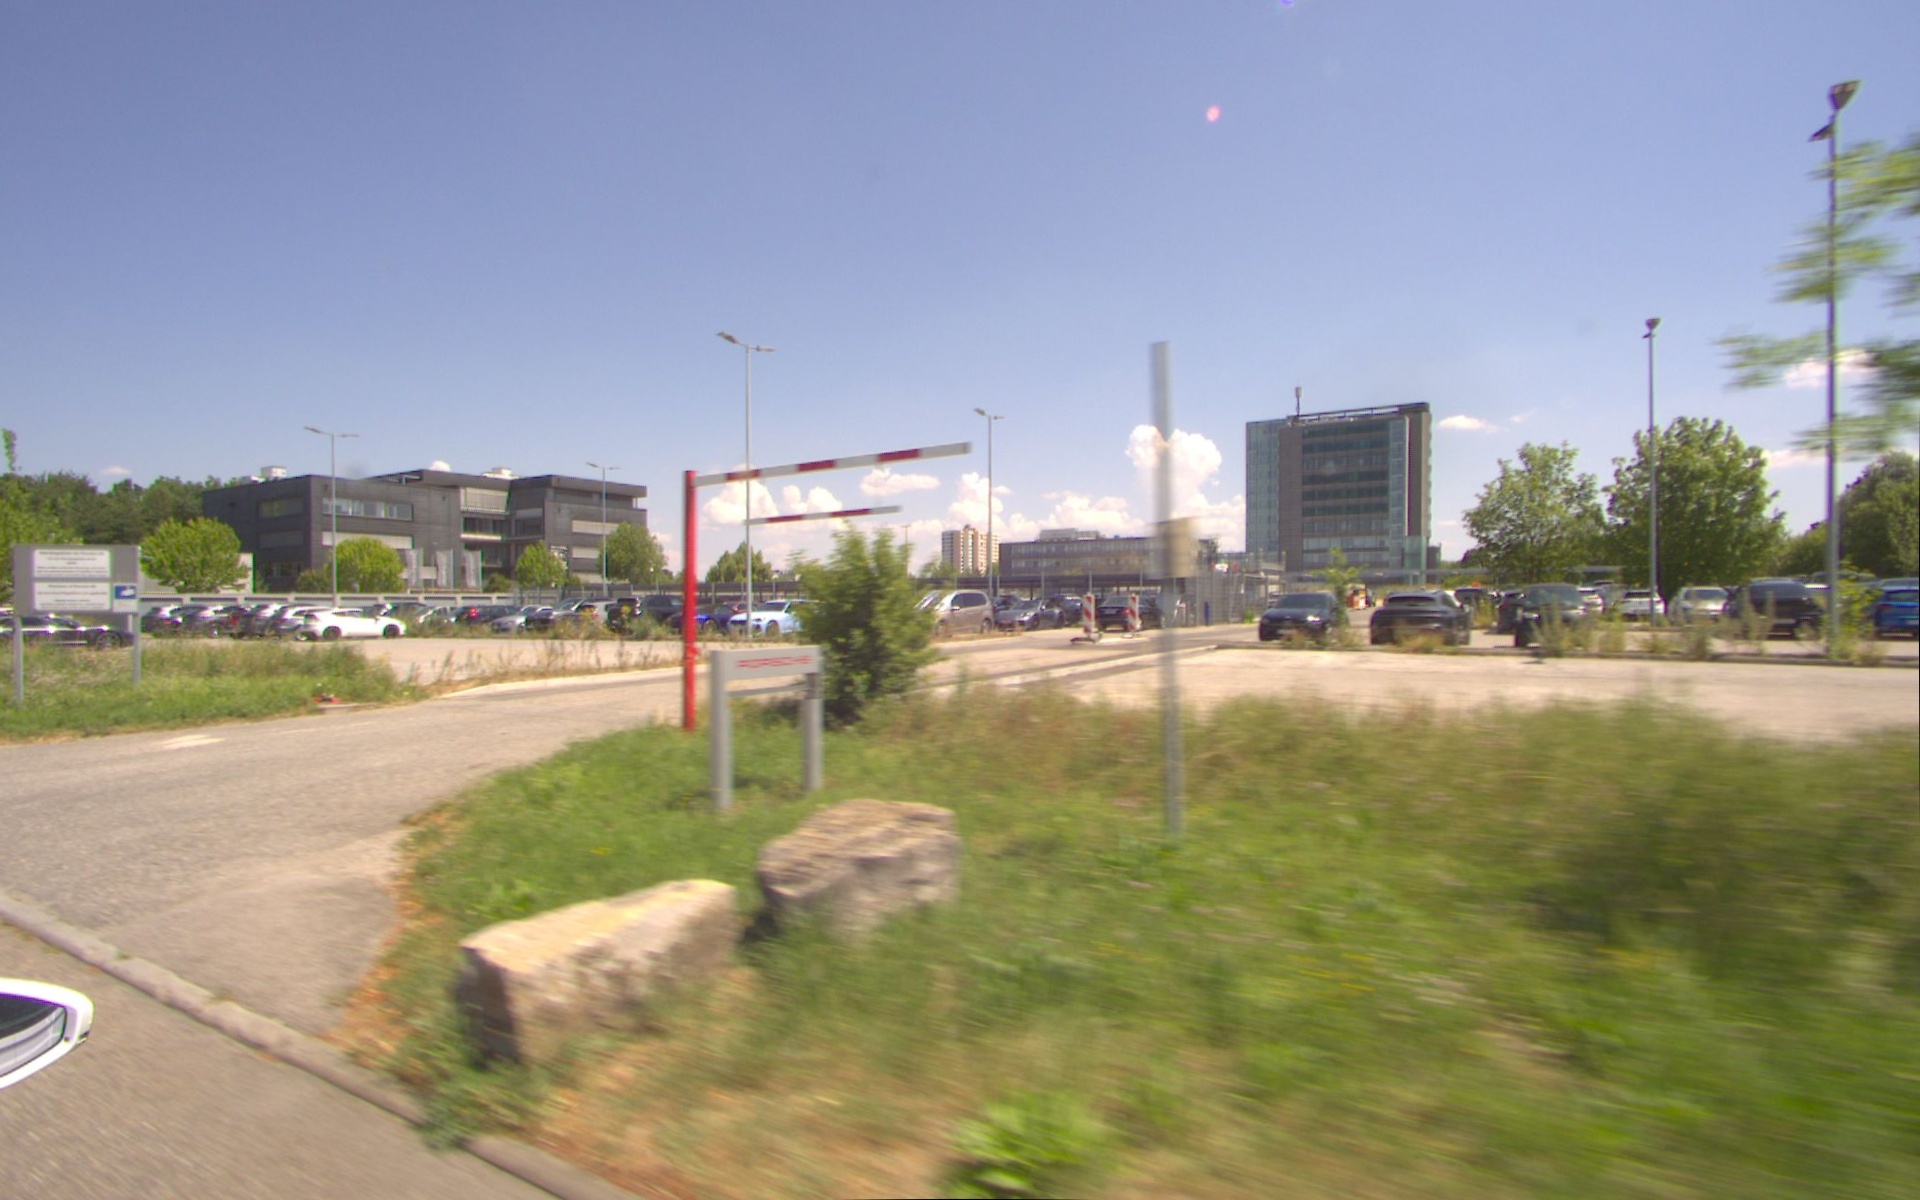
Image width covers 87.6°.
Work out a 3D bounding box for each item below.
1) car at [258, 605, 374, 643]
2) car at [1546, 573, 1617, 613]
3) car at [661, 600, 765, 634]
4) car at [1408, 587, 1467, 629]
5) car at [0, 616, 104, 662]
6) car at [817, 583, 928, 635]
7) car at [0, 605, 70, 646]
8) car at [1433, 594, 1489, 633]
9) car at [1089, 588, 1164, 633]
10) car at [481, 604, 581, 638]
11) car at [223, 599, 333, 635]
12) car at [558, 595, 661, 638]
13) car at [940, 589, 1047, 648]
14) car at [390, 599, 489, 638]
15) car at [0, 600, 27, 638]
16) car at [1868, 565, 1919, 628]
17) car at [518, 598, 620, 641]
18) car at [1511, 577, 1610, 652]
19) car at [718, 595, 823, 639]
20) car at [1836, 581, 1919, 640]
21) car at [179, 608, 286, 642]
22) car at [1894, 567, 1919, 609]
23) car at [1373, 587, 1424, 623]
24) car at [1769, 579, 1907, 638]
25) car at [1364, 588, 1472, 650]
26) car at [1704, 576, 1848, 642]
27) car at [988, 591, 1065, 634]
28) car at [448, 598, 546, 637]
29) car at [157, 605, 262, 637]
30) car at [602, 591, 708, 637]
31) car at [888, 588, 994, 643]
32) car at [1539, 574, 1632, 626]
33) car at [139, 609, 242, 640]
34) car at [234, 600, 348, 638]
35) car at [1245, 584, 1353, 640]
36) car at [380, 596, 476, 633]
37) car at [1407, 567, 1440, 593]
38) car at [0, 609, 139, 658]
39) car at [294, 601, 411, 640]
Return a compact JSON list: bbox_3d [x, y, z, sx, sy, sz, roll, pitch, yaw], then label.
[{"bbox_3d":[-28.546,1.043,44.492,1.741,1.420,3.980,3,3,29],"label":"car"},{"bbox_3d":[28.559,-0.363,46.146,1.965,1.663,3.989,2,3,21],"label":"car"},{"bbox_3d":[-9.721,0.635,39.619,1.741,1.124,3.980,3,3,29],"label":"car"},{"bbox_3d":[16.728,0.251,34.990,1.670,1.359,3.982,-1,0,28],"label":"car"},{"bbox_3d":[-34.182,1.429,36.498,1.741,1.420,4.156,3,3,29],"label":"car"},{"bbox_3d":[-2.994,0.271,35.215,1.741,1.618,4.359,3,3,29],"label":"car"},{"bbox_3d":[-36.573,0.976,37.775,1.741,1.420,4.156,3,3,29],"label":"car"},{"bbox_3d":[24.299,0.625,48.667,1.965,1.663,3.989,2,3,21],"label":"car"},{"bbox_3d":[6.843,0.384,40.870,1.741,1.618,3.980,3,3,29],"label":"car"},{"bbox_3d":[-19.560,0.934,45.819,1.741,1.289,3.980,3,3,29],"label":"car"},{"bbox_3d":[-32.570,0.783,47.917,1.741,1.482,3.980,3,3,29],"label":"car"},{"bbox_3d":[-14.812,0.652,42.497,1.741,1.618,3.980,3,3,29],"label":"car"},{"bbox_3d":[1.128,0.525,31.871,1.741,1.618,3.980,3,3,29],"label":"car"},{"bbox_3d":[-25.050,0.855,48.307,1.741,1.618,3.980,3,3,29],"label":"car"},{"bbox_3d":[-40.284,0.815,39.941,1.741,1.420,4.156,3,3,29],"label":"car"},{"bbox_3d":[30.942,-0.119,31.901,1.969,1.908,3.981,3,3,28],"label":"car"},{"bbox_3d":[-17.086,0.807,43.889,1.741,1.618,3.980,3,3,29],"label":"car"},{"bbox_3d":[14.602,0.311,24.280,1.900,1.663,3.977,-1,0,33],"label":"car"},{"bbox_3d":[-7.050,0.610,37.641,1.741,1.412,3.980,3,3,29],"label":"car"},{"bbox_3d":[26.081,0.256,27.853,1.707,1.484,3.791,3,3,28],"label":"car"},{"bbox_3d":[-36.381,1.230,50.147,1.741,1.420,3.980,3,3,29],"label":"car"},{"bbox_3d":[39.497,-0.435,39.824,1.965,1.663,3.989,2,3,21],"label":"car"},{"bbox_3d":[22.365,0.226,51.005,1.768,1.663,3.978,3,3,32],"label":"car"},{"bbox_3d":[28.045,0.208,32.161,1.965,1.663,3.989,2,3,21],"label":"car"},{"bbox_3d":[11.518,0.438,25.051,1.900,1.414,3.977,-1,0,33],"label":"car"},{"bbox_3d":[23.367,0.181,28.865,1.965,1.663,3.989,2,3,21],"label":"car"},{"bbox_3d":[2.912,0.489,43.299,1.741,1.618,3.980,3,3,29],"label":"car"},{"bbox_3d":[-21.912,0.780,47.563,1.741,1.618,3.980,3,3,29],"label":"car"},{"bbox_3d":[-38.506,1.037,51.460,1.741,1.420,3.980,3,3,29],"label":"car"},{"bbox_3d":[-12.352,0.528,40.756,1.832,1.618,3.980,3,3,29],"label":"car"},{"bbox_3d":[-0.571,0.461,33.376,1.741,1.618,3.980,3,3,29],"label":"car"},{"bbox_3d":[22.065,-0.059,35.480,1.965,1.663,3.989,2,3,21],"label":"car"},{"bbox_3d":[-40.919,1.264,53.320,1.741,1.420,3.980,3,3,29],"label":"car"},{"bbox_3d":[-30.675,0.845,46.029,1.741,1.511,3.980,3,3,29],"label":"car"},{"bbox_3d":[9.330,0.305,27.357,1.900,1.414,3.977,-1,0,33],"label":"car"},{"bbox_3d":[-26.821,0.694,50.560,1.741,1.618,3.980,3,3,29],"label":"car"},{"bbox_3d":[38.125,-1.651,82.263,1.970,2.042,3.979,3,3,31],"label":"car"},{"bbox_3d":[-31.744,1.126,34.758,1.895,1.420,4.689,3,3,35],"label":"car"},{"bbox_3d":[-26.172,0.848,43.287,1.742,1.420,3.979,3,3,31],"label":"car"}]
